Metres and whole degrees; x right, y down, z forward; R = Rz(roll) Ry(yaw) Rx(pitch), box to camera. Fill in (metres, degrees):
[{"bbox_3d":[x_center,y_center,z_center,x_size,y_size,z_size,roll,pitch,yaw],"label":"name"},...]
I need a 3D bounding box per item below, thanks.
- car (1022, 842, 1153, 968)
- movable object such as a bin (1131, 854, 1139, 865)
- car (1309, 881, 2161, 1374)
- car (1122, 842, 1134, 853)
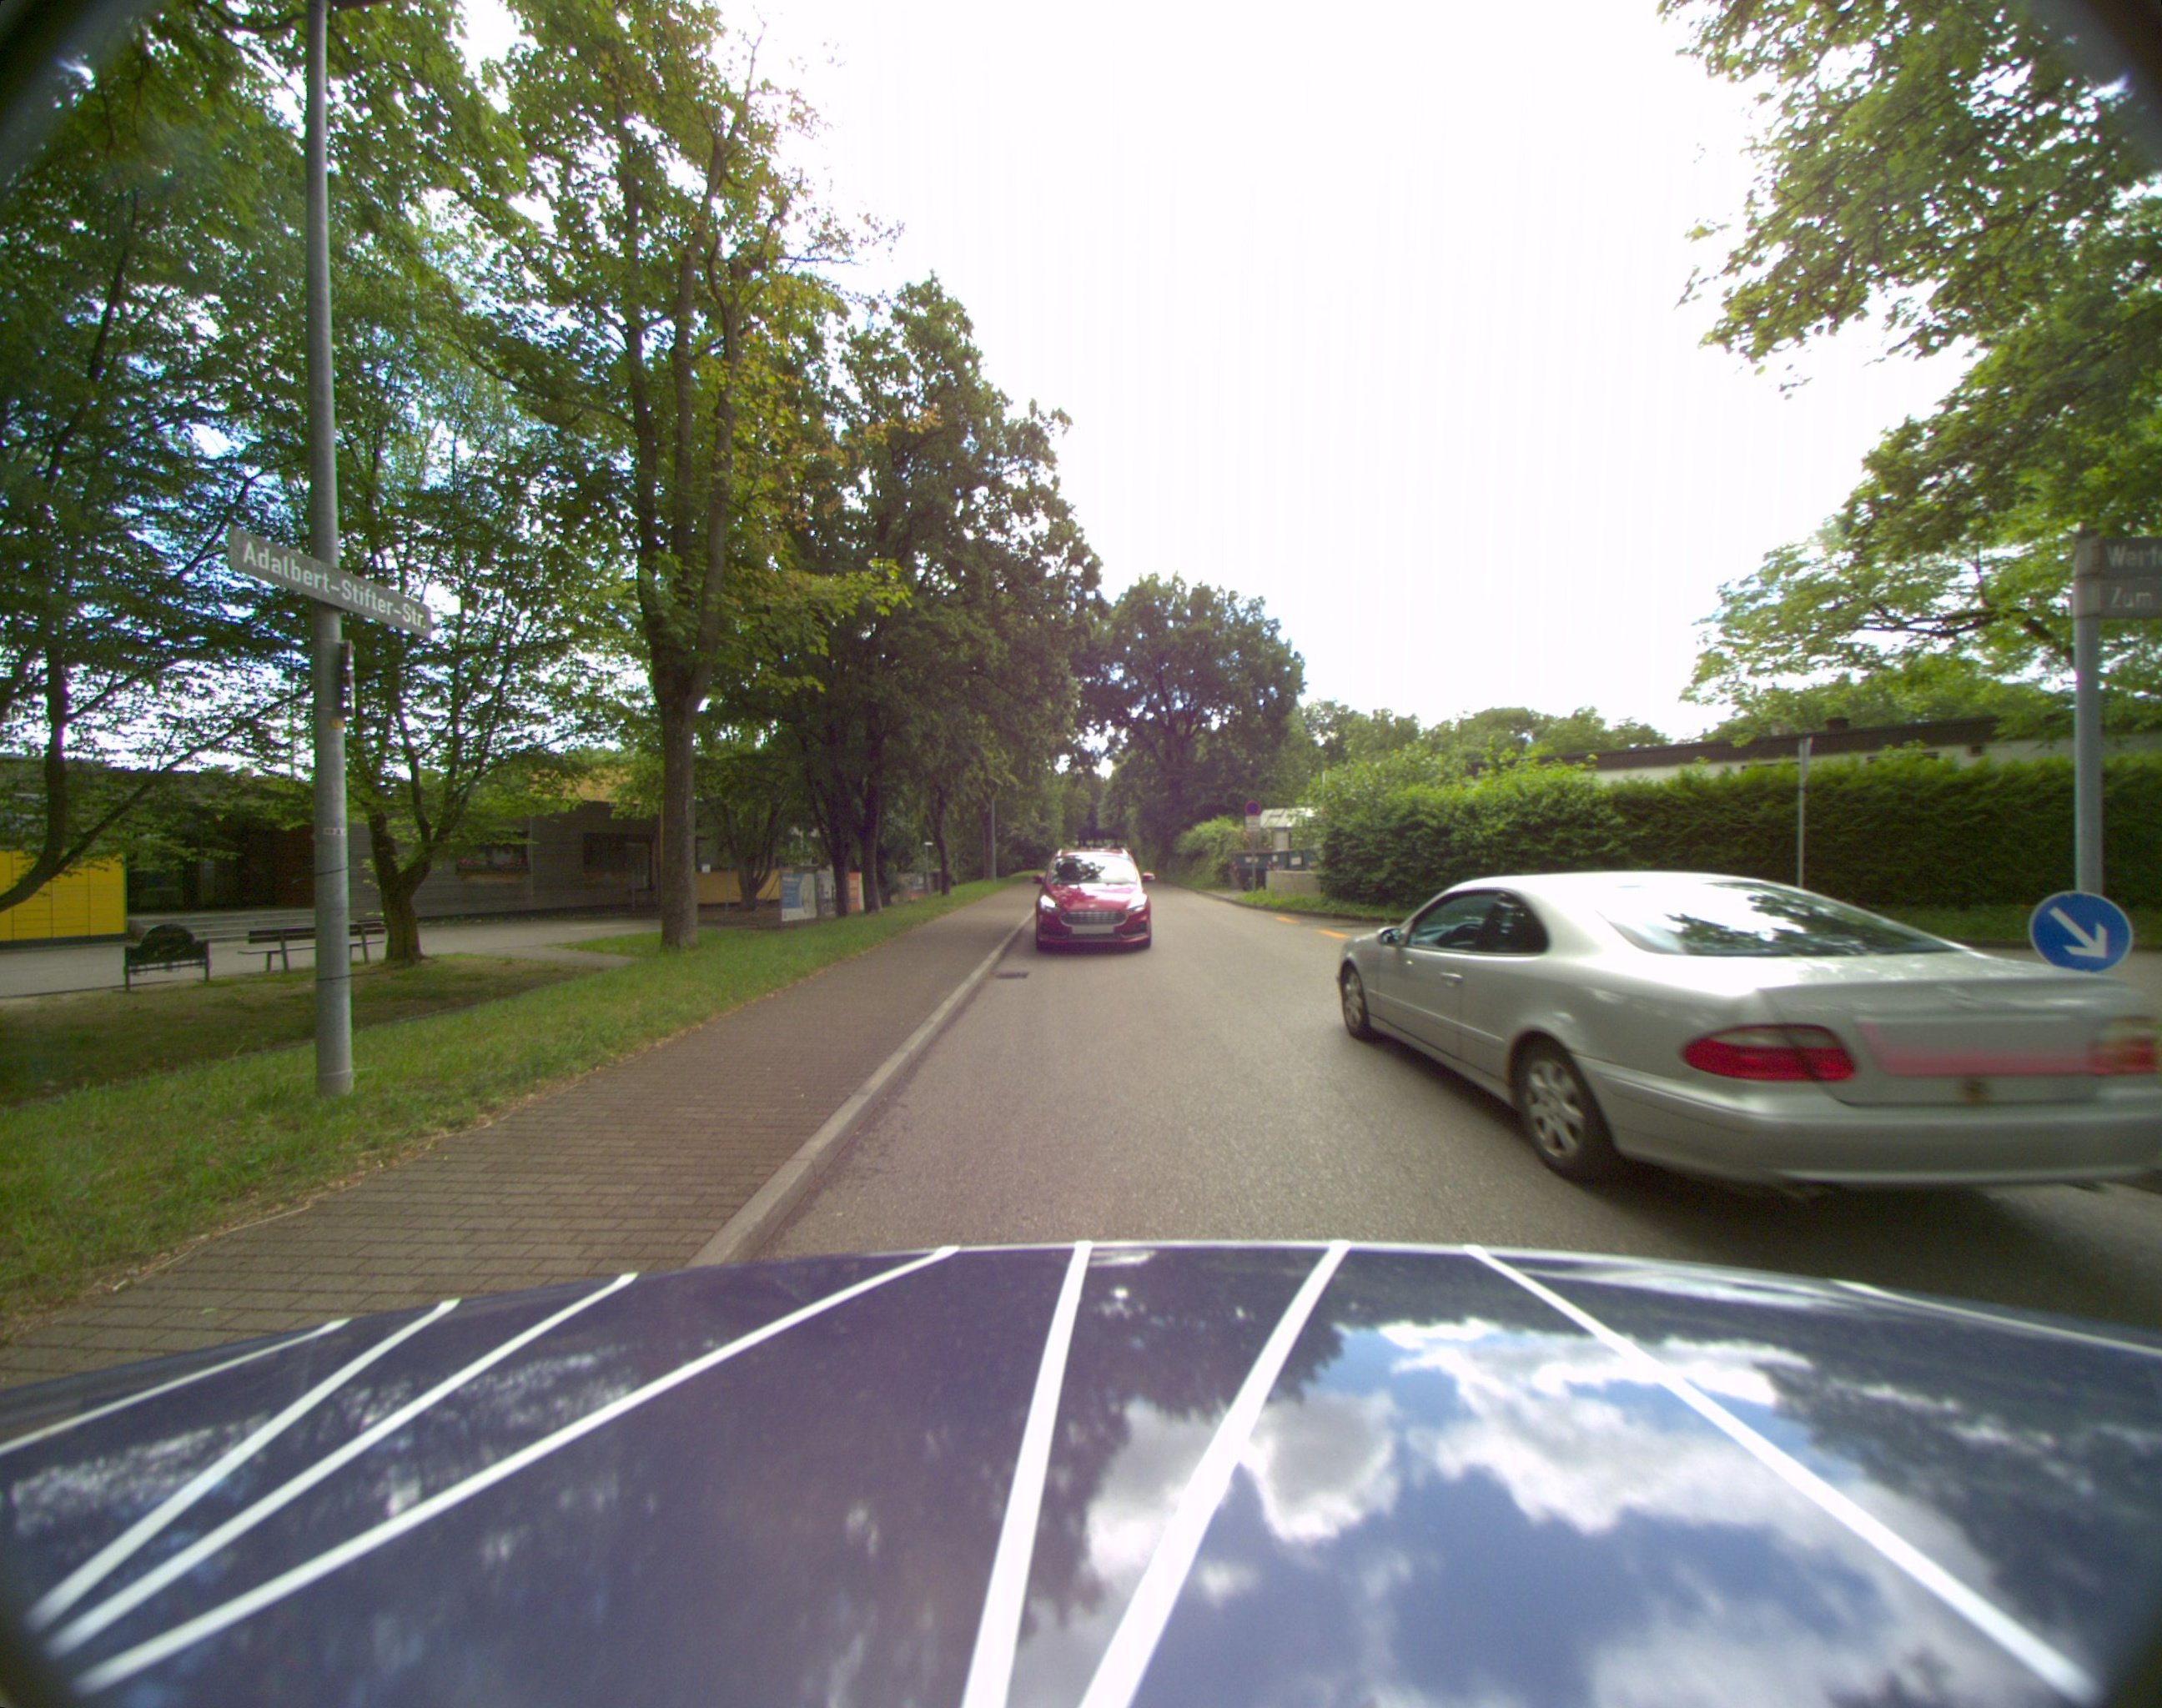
[{"bbox_3d":[0.276,0.698,12.884,1.816,1.718,4.001,1,2,6],"label":"car"},{"bbox_3d":[5.290,0.535,73.983,0.649,1.007,0.632,1,2,16],"label":"movable object such as a bin"},{"bbox_3d":[2.946,0.902,4.468,1.786,1.299,4.295,-1,0,-2],"label":"car"},{"bbox_3d":[9.076,-1.274,146.756,1.878,1.903,4.430,0,1,0],"label":"car"}]
